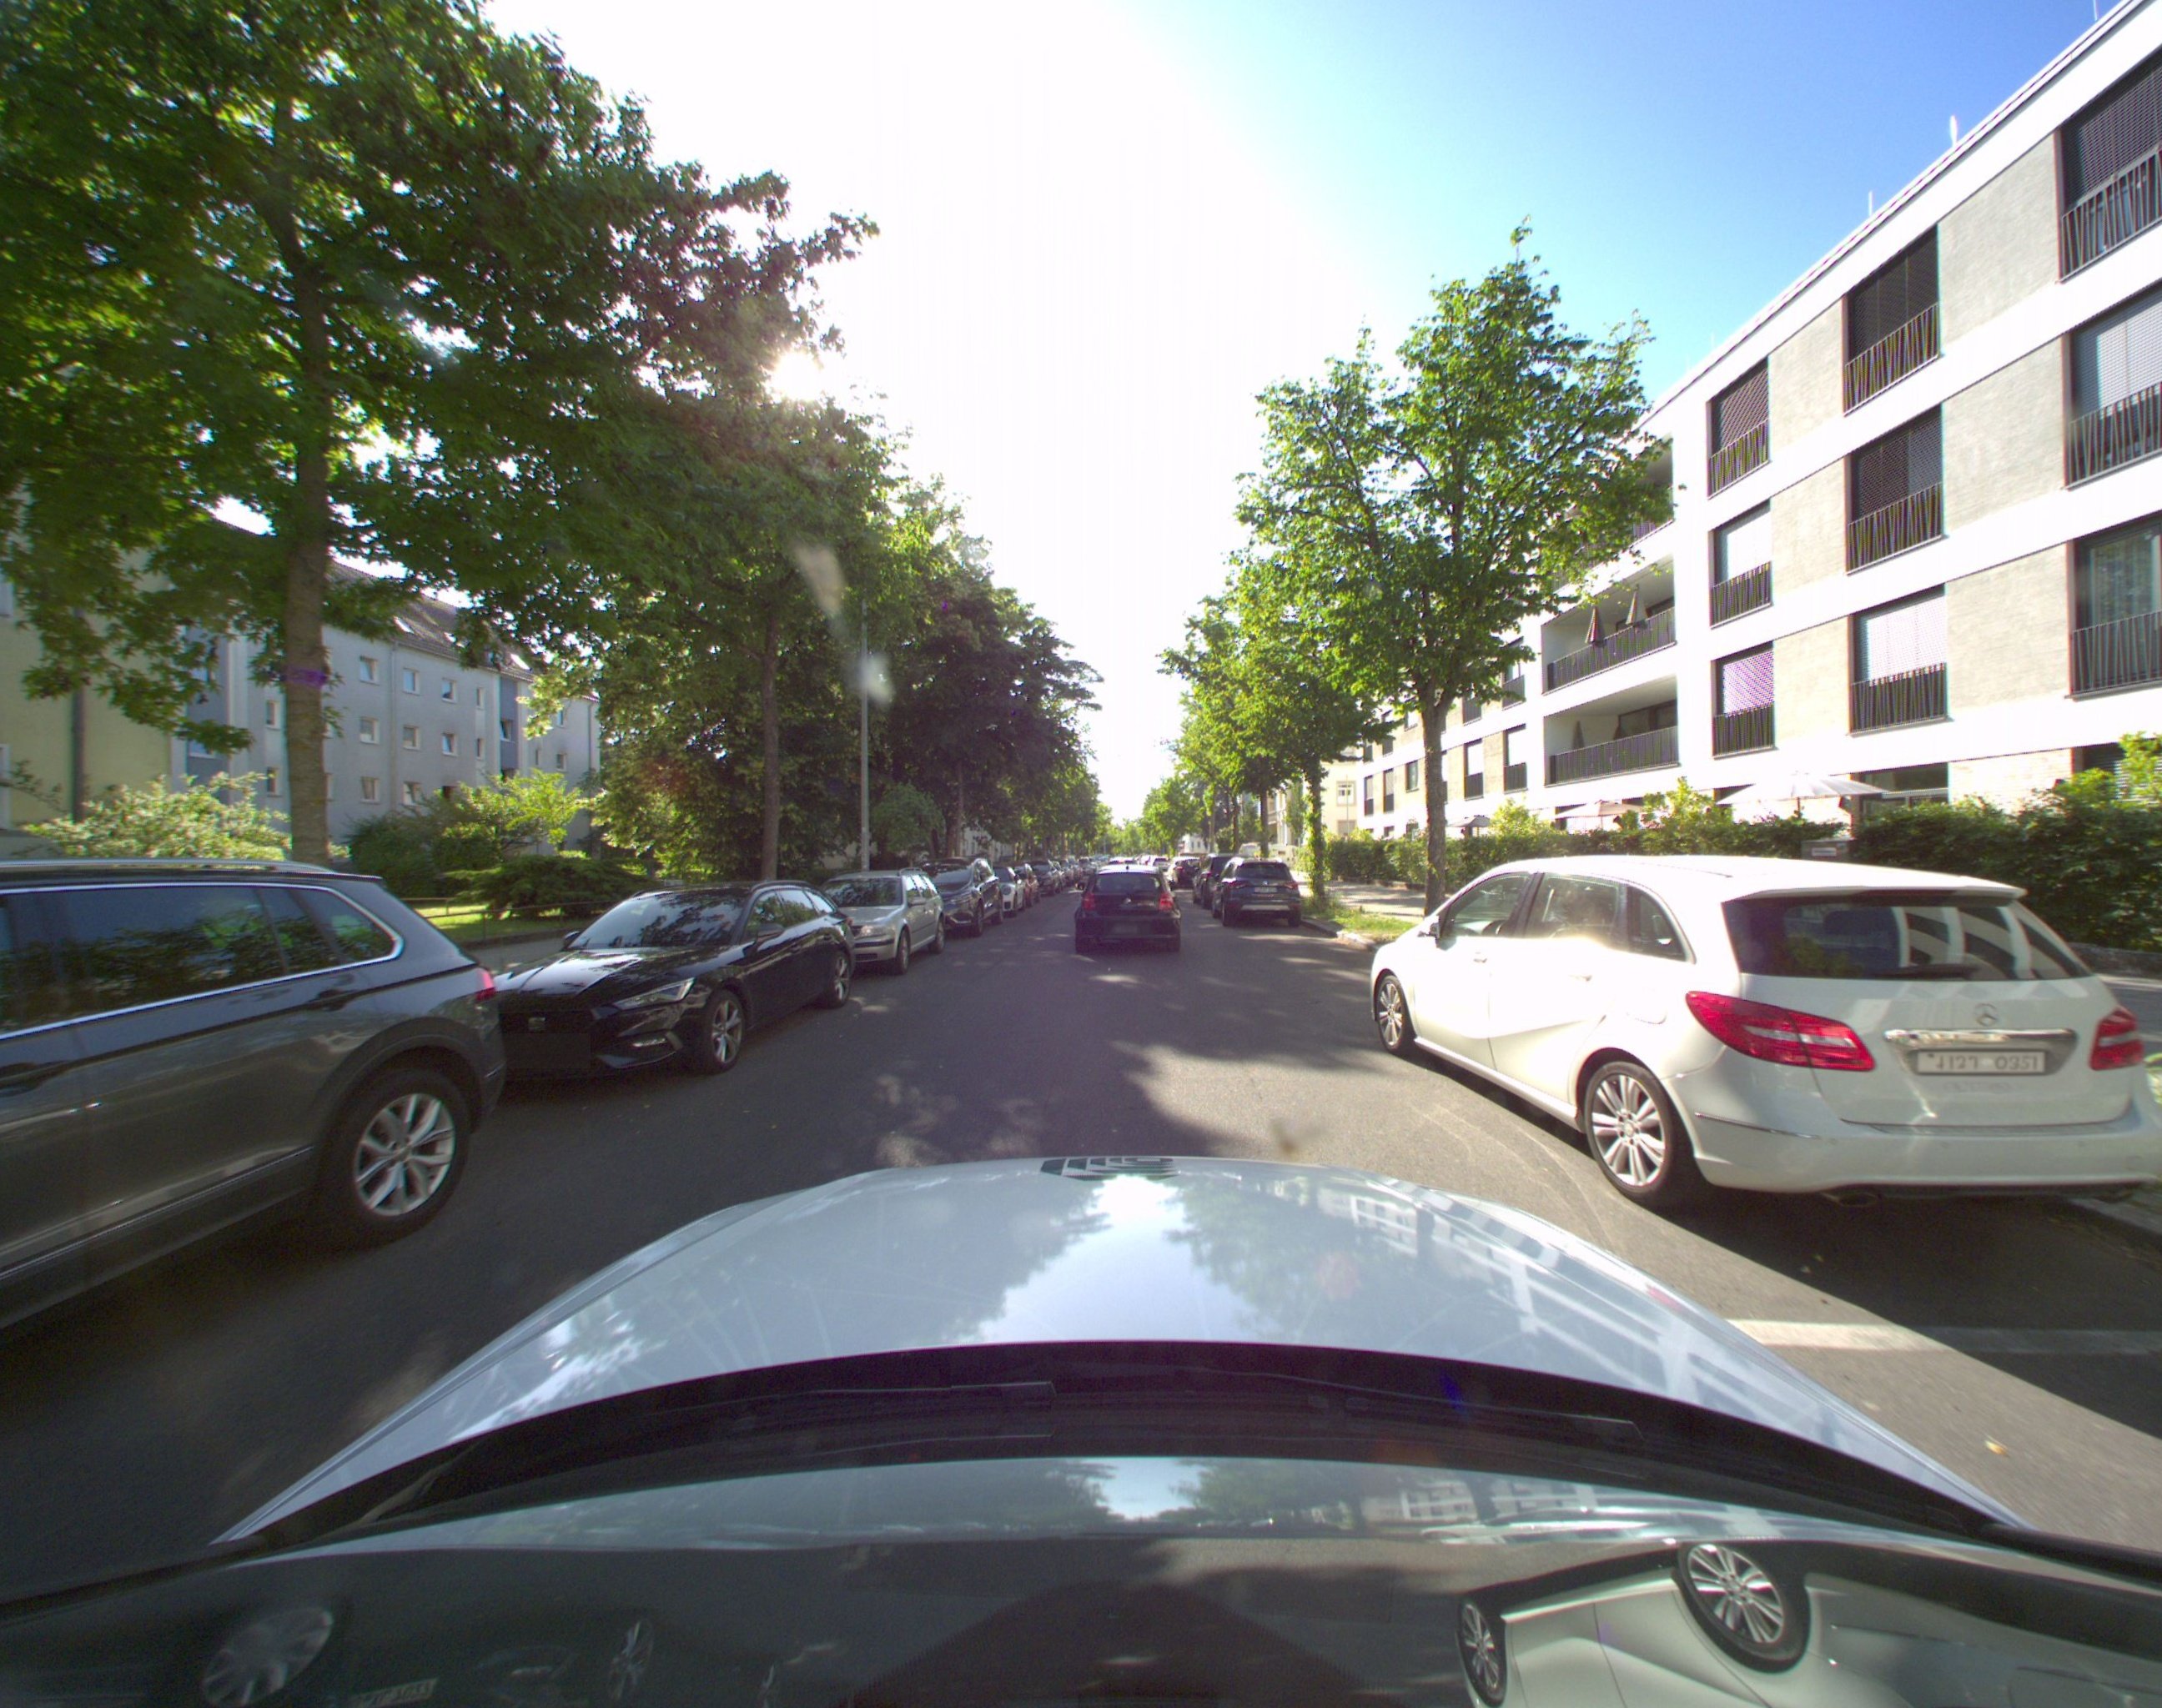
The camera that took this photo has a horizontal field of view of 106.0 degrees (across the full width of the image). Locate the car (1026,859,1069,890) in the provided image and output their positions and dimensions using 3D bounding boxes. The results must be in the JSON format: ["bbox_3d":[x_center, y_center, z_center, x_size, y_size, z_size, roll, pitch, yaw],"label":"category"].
[{"bbox_3d":[-1.617,0.988,40.627,1.778,1.352,4.483,-2,0,2],"label":"car"}]

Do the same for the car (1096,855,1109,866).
[{"bbox_3d":[3.155,0.957,121.402,1.804,1.596,4.236,-2,0,3],"label":"car"}]

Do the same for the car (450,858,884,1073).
[{"bbox_3d":[-3.485,0.805,8.021,1.786,1.452,4.492,-2,0,2],"label":"car"}]

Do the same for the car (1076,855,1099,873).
[{"bbox_3d":[0.605,0.923,76.819,2.057,1.524,4.721,-1,0,0],"label":"car"}]

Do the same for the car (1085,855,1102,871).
[{"bbox_3d":[1.388,0.966,88.555,1.722,1.618,4.368,-5,0,2],"label":"car"}]

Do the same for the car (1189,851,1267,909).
[{"bbox_3d":[4.527,0.755,25.768,1.785,1.643,4.822,1,0,3],"label":"car"}]

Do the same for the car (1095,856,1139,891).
[{"bbox_3d":[1.660,0.893,38.176,1.888,1.524,4.969,0,-1,2],"label":"car"}]

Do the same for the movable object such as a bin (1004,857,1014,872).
[{"bbox_3d":[-6.979,1.010,78.850,0.927,1.324,1.378,-2,-1,-2],"label":"movable object such as a bin"}]

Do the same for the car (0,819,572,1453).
[{"bbox_3d":[-3.790,0.779,2.321,1.788,1.686,4.526,-2,0,0],"label":"car"}]

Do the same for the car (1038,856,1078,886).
[{"bbox_3d":[-1.248,0.924,46.050,1.761,1.531,4.424,-1,0,4],"label":"car"}]

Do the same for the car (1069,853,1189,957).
[{"bbox_3d":[0.801,0.782,14.431,1.776,1.523,4.002,-2,0,2],"label":"car"}]

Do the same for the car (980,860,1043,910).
[{"bbox_3d":[-2.329,1.002,28.090,1.648,1.505,4.070,-2,0,2],"label":"car"}]

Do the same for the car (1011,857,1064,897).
[{"bbox_3d":[-1.817,0.954,35.413,1.698,1.577,4.486,-2,0,4],"label":"car"}]

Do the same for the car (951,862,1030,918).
[{"bbox_3d":[-2.531,0.971,23.610,1.648,1.373,4.191,-2,0,2],"label":"car"}]

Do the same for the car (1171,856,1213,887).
[{"bbox_3d":[5.515,0.845,40.822,1.664,1.450,4.180,1,0,2],"label":"car"}]

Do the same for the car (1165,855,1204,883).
[{"bbox_3d":[5.734,0.803,45.417,1.726,1.487,4.010,-1,0,1],"label":"car"}]

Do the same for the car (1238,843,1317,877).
[{"bbox_3d":[13.997,0.411,58.074,5.058,2.306,2.219,-1,0,-21],"label":"car"}]

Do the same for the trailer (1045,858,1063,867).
[{"bbox_3d":[-3.416,1.071,103.557,1.780,1.034,3.286,-1,0,5],"label":"trailer"}]

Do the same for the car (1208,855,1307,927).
[{"bbox_3d":[4.107,0.793,19.599,1.710,1.516,4.349,0,0,4],"label":"car"}]

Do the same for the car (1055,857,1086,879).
[{"bbox_3d":[-0.710,0.951,57.542,1.848,1.469,4.186,-1,0,3],"label":"car"}]

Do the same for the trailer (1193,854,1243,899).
[{"bbox_3d":[5.080,0.794,30.524,1.567,1.579,3.196,1,0,5],"label":"trailer"}]

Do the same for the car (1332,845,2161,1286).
[{"bbox_3d":[3.242,0.734,5.196,1.776,1.518,4.685,0,0,-1],"label":"car"}]

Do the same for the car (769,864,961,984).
[{"bbox_3d":[-3.202,0.956,13.039,1.700,1.480,4.491,-2,0,2],"label":"car"}]

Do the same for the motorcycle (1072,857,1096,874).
[{"bbox_3d":[0.237,1.020,72.850,0.994,1.503,2.208,-2,0,-37],"label":"motorcycle"}]

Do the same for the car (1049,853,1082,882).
[{"bbox_3d":[-0.904,0.839,51.281,1.761,1.688,4.816,-2,0,2],"label":"car"}]

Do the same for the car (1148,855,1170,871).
[{"bbox_3d":[7.741,0.872,81.078,1.814,1.469,4.911,1,0,2],"label":"car"}]

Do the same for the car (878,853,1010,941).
[{"bbox_3d":[-2.876,0.835,18.339,1.834,1.656,5.091,-2,0,3],"label":"car"}]

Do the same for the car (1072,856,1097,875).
[{"bbox_3d":[0.244,0.972,68.802,2.036,1.524,4.604,-1,0,-1],"label":"car"}]
